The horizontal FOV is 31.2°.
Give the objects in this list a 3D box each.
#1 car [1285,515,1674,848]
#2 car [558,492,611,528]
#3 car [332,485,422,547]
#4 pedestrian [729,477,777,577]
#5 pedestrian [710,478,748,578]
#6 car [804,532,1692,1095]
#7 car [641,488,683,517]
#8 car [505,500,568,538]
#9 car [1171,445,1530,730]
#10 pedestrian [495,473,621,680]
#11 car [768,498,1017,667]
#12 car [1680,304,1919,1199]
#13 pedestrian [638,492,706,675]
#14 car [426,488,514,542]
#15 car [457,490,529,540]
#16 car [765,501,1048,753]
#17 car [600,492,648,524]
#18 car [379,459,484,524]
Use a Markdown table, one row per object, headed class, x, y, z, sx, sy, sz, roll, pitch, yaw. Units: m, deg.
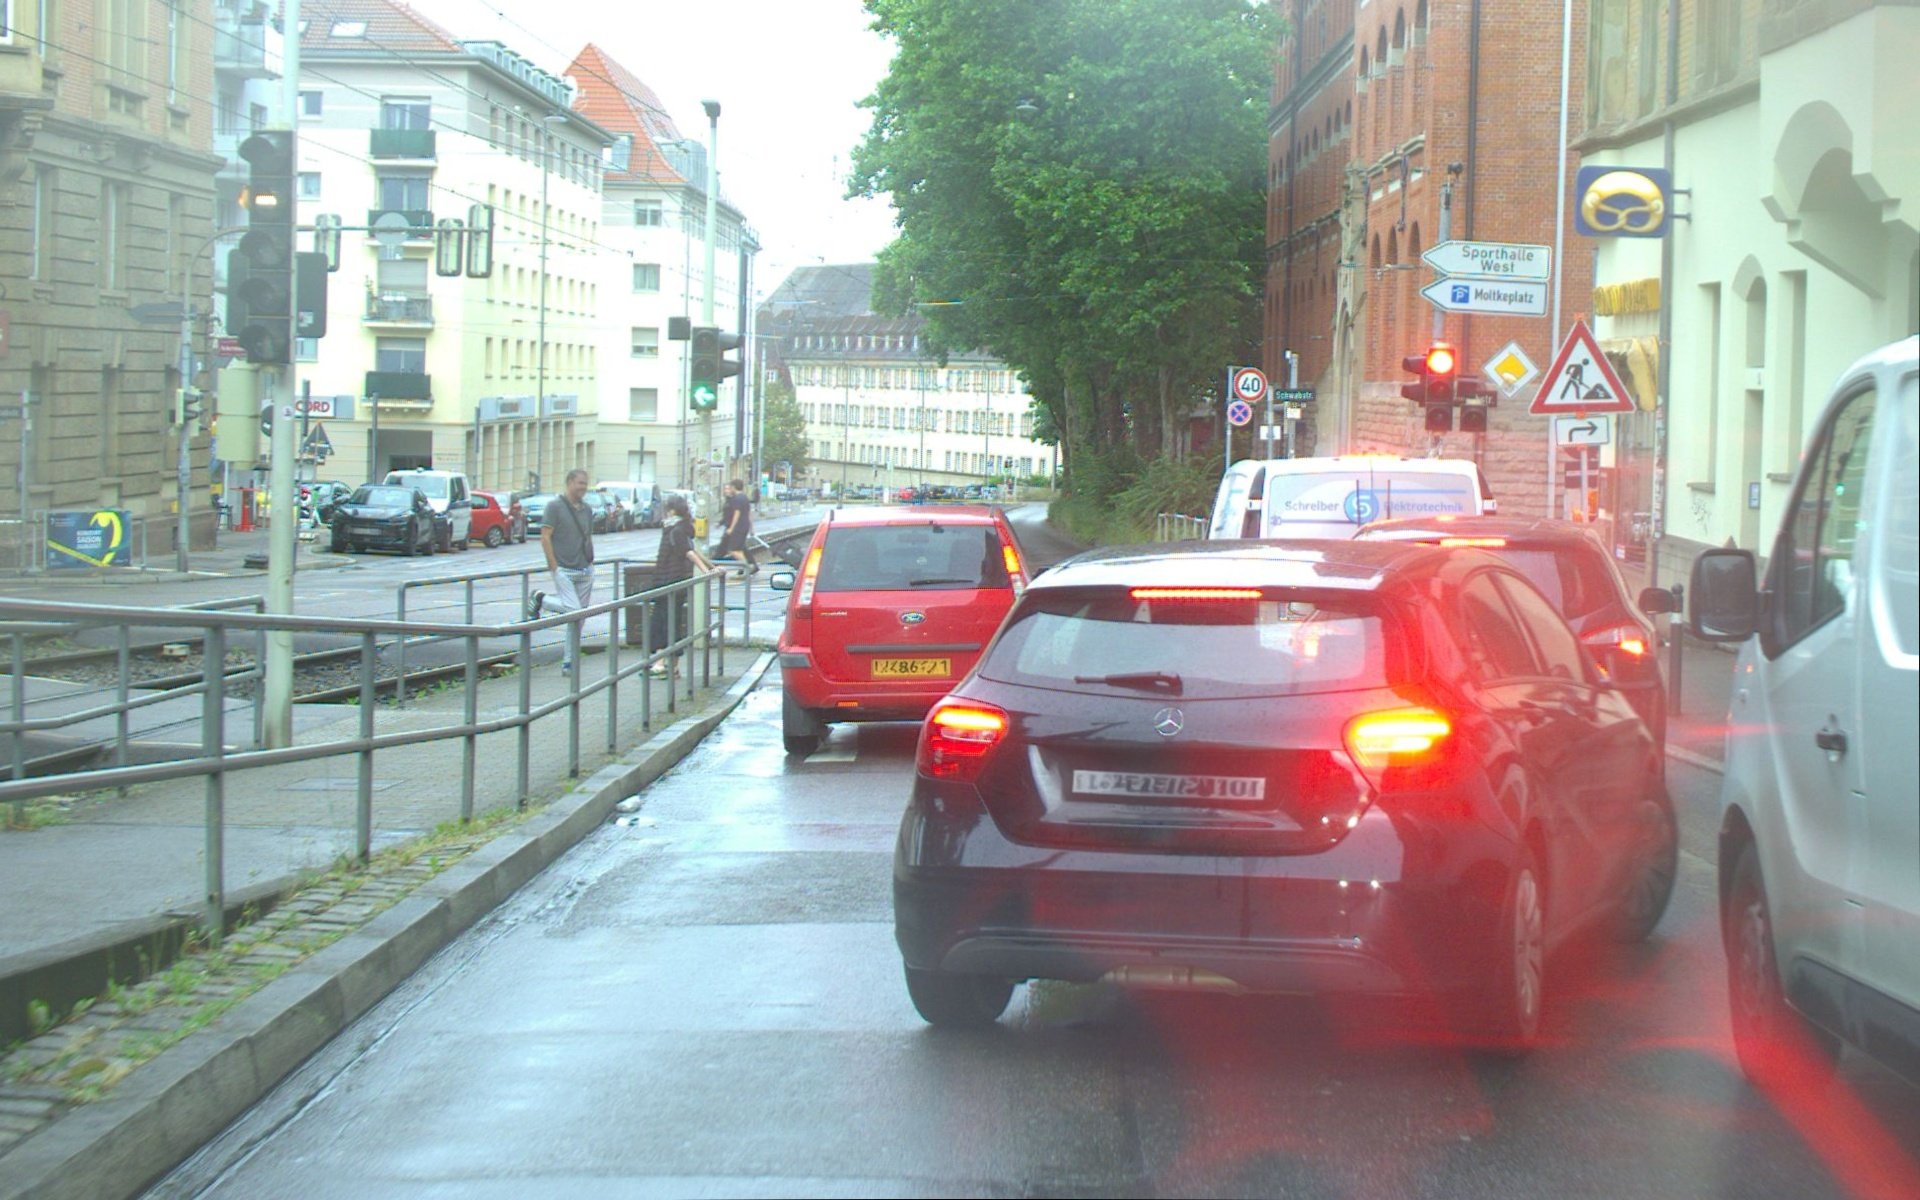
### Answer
| class | x | y | z | sx | sy | sz | roll | pitch | yaw |
| --- | --- | --- | --- | --- | --- | --- | --- | --- | --- |
| car | 2.670 | 0.312 | 17.726 | 1.714 | 1.464 | 4.280 | 1 | 2 | 9 |
| car | -12.768 | -3.058 | 116.981 | 1.395 | 1.167 | 3.162 | 1 | 2 | 1 |
| car | -13.202 | -1.923 | 77.994 | 1.452 | 1.314 | 3.295 | 2 | 2 | 0 |
| pedestrian | -3.457 | -1.223 | 57.350 | 0.679 | 1.655 | 0.676 | 0 | 2 | 8 |
| pedestrian | -3.905 | -1.218 | 58.182 | 0.518 | 1.660 | 0.477 | 2 | 2 | 4 |
| car | 1.119 | 0.501 | 10.930 | 1.896 | 1.385 | 3.997 | 1 | 2 | 19 |
| car | -12.463 | -4.076 | 143.989 | 1.395 | 1.167 | 3.162 | 1 | 2 | 1 |
| car | -12.765 | -2.448 | 103.760 | 1.437 | 1.102 | 3.162 | 1 | 2 | 1 |
| car | 2.677 | -0.150 | 24.565 | 1.933 | 1.825 | 4.282 | 1 | 2 | -2 |
| pedestrian | -3.406 | -0.209 | 29.114 | 0.739 | 1.718 | 0.741 | 0 | 2 | -42 |
| car | -0.691 | -0.201 | 33.083 | 1.419 | 1.484 | 3.163 | 1 | 2 | -20 |
| car | 2.906 | 0.373 | 7.224 | 1.921 | 1.929 | 4.685 | 1 | 1 | 2 |
| pedestrian | -2.432 | -0.141 | 29.000 | 0.531 | 1.525 | 0.437 | 1 | 1 | -7 |
| car | -12.951 | -2.256 | 91.013 | 1.680 | 1.351 | 3.703 | 1 | 2 | 1 |
| car | -12.928 | -2.367 | 95.299 | 1.499 | 1.351 | 3.162 | 1 | 2 | 1 |
| car | -0.348 | 0.112 | 22.303 | 1.680 | 1.484 | 3.613 | 0 | 2 | -1 |
| car | -12.525 | -3.436 | 128.304 | 1.395 | 1.167 | 3.162 | 1 | 2 | 1 |
| car | -12.967 | -2.657 | 84.580 | 1.786 | 1.524 | 4.462 | 1 | 2 | 1 |
